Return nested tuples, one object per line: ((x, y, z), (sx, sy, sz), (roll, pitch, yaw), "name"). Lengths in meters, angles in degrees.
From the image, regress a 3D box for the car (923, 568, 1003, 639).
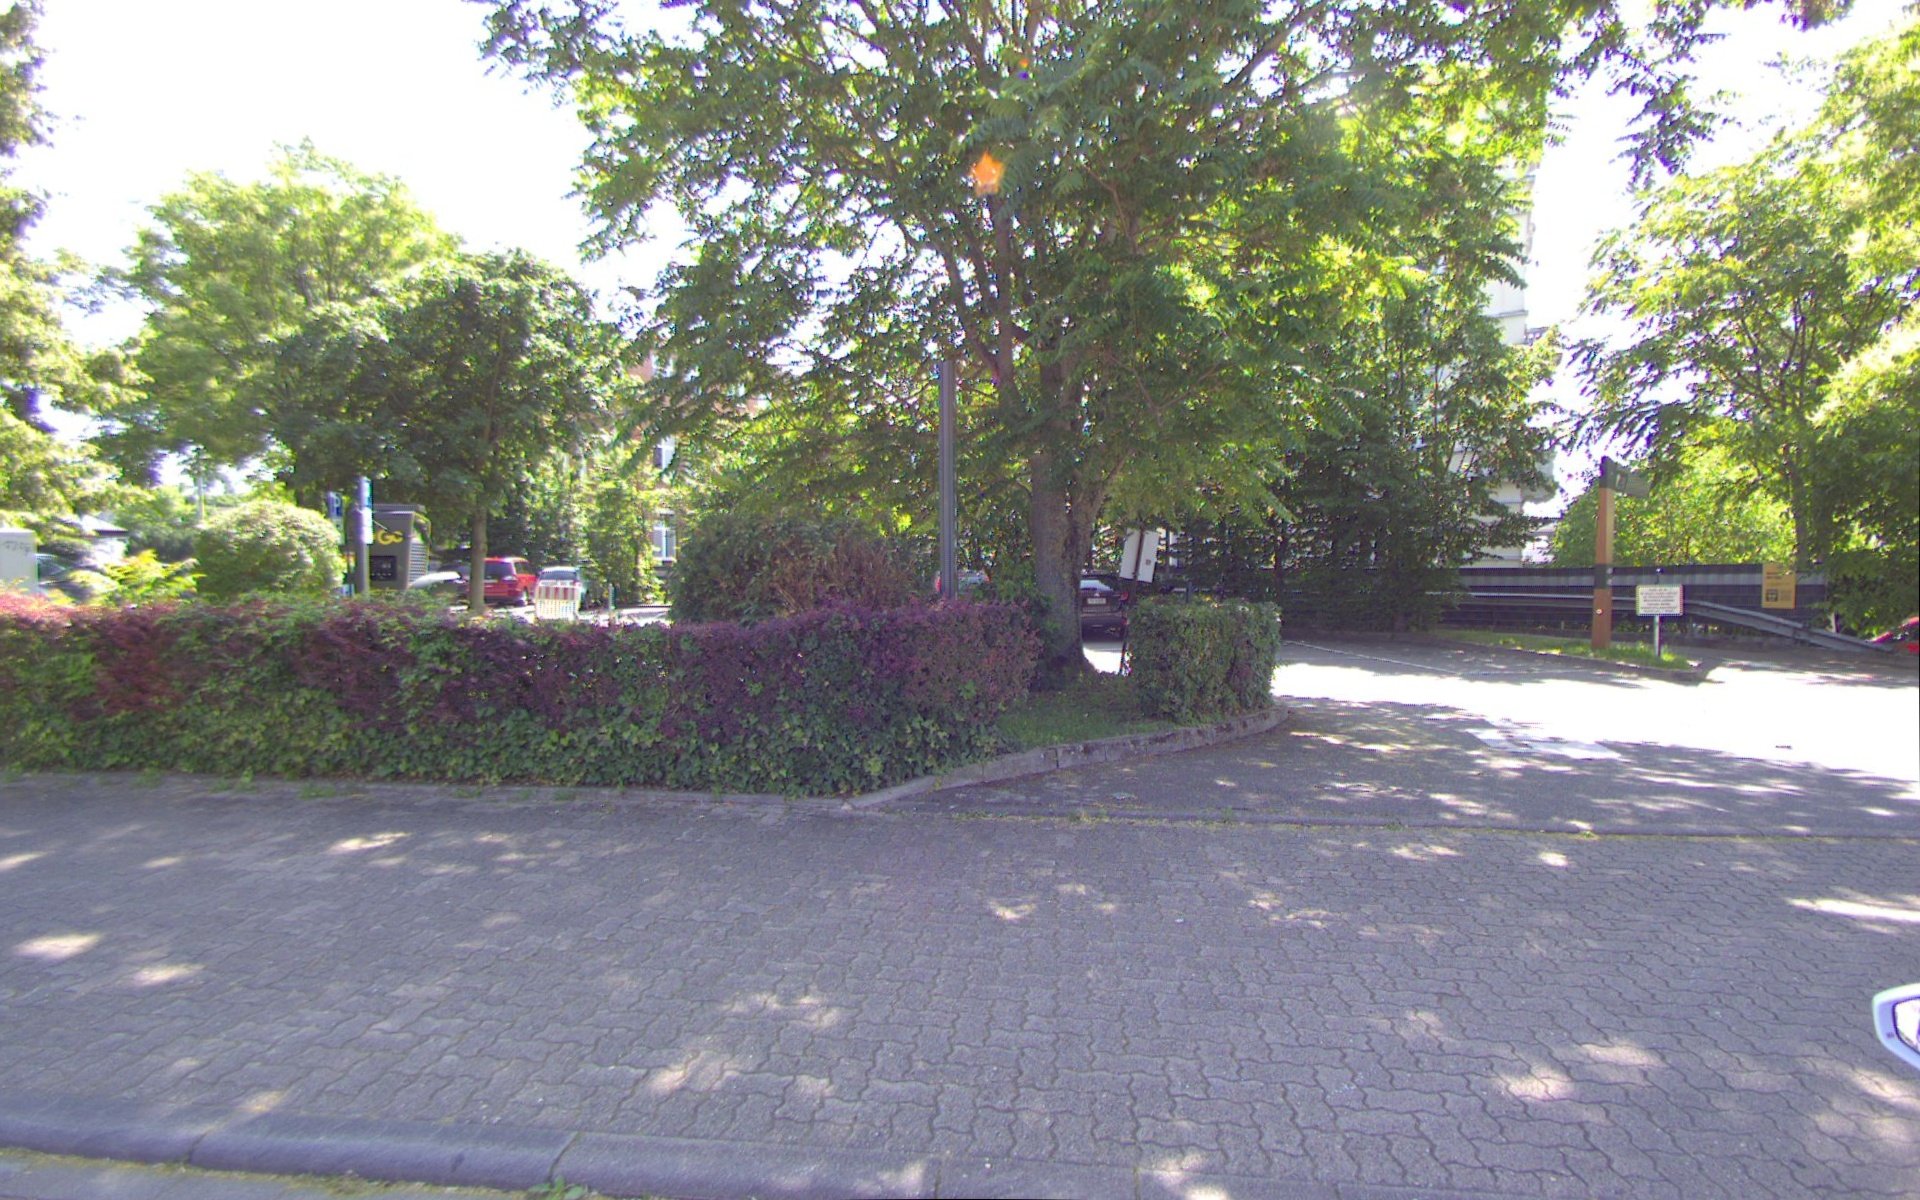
((-0.006, 0.023, 24.025), (1.672, 1.473, 3.997), (-1, 3, -3), "car")

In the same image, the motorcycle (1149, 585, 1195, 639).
((4.781, 0.249, 22.689), (0.466, 1.156, 1.602), (-1, 2, -9), "motorcycle")

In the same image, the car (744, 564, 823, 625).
((-4.986, -0.224, 28.899), (1.740, 1.593, 3.997), (0, 3, -3), "car")

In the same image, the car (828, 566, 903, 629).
((-2.494, -0.130, 27.287), (1.739, 1.490, 3.998), (-1, 3, -1), "car")

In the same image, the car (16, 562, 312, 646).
((-15.026, 0.071, 19.094), (4.279, 1.472, 1.863), (1, 0, 5), "car")

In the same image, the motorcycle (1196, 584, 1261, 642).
((5.777, 0.257, 21.699), (0.561, 1.185, 1.598), (-1, 2, -19), "motorcycle")

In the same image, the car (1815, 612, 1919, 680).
((21.590, 1.019, 22.598), (3.356, 1.397, 1.482), (0, 3, 32), "car")

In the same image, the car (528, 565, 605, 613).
((-13.636, -0.437, 35.012), (1.742, 1.496, 3.991), (-1, 3, -11), "car")

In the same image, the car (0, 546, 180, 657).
((-15.742, 0.009, 16.674), (4.279, 1.708, 1.863), (1, 0, 5), "car")

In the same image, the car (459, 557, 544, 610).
((-16.671, -0.657, 36.696), (1.742, 1.758, 3.992), (-2, 3, -9), "car")

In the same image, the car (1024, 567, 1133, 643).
((2.596, 0.032, 22.807), (1.630, 1.490, 3.899), (-1, 3, -6), "car")
